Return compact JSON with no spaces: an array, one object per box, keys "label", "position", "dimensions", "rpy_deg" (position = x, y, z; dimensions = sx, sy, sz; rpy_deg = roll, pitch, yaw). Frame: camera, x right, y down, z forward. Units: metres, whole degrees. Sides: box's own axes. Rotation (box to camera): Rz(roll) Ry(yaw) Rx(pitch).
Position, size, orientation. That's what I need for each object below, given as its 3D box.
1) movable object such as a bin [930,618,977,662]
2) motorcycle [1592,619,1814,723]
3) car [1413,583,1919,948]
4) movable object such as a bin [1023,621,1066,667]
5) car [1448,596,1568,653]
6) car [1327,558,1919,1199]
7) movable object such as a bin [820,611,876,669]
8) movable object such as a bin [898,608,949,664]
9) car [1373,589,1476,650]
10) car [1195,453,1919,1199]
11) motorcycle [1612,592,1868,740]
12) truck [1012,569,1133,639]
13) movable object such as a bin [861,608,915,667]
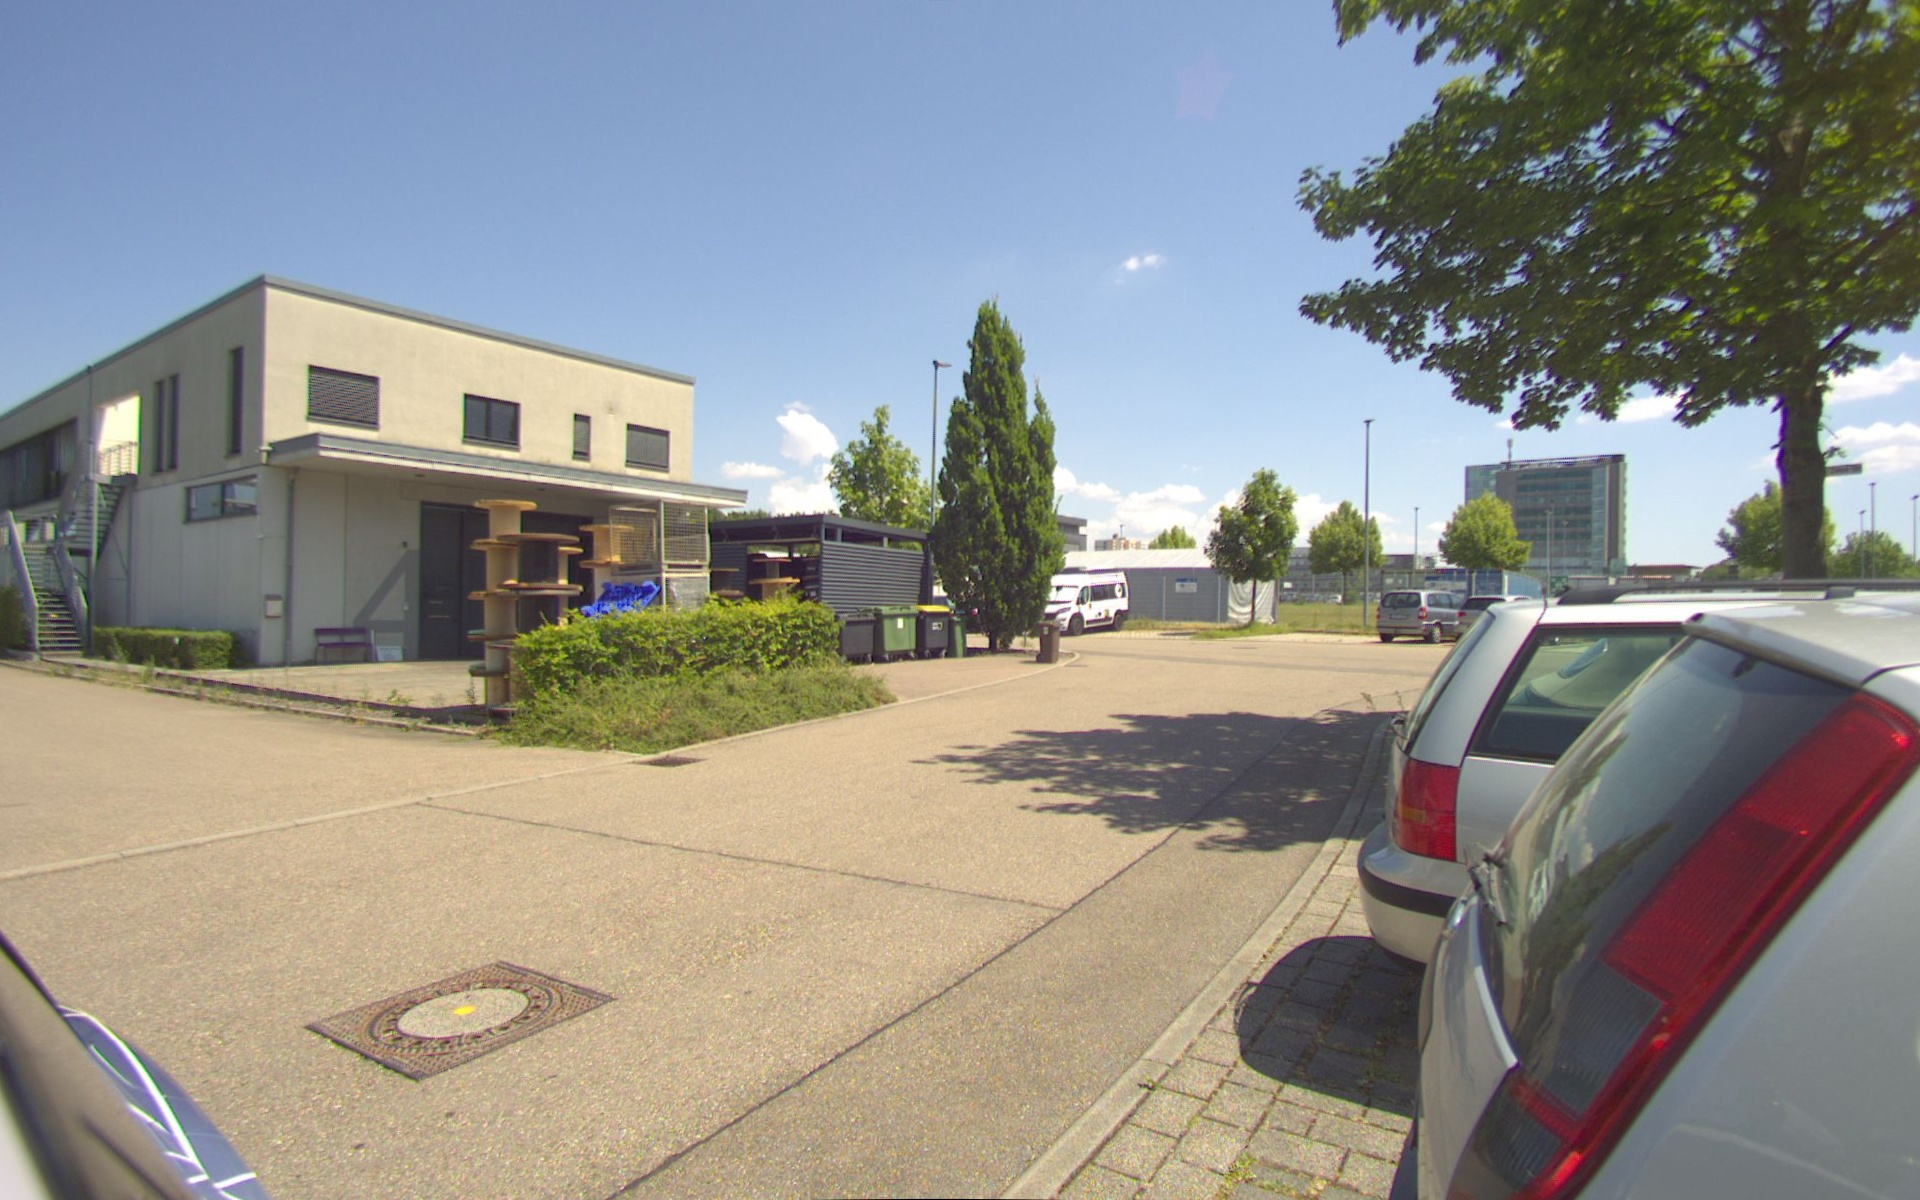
[{"label":"movable object such as a bin","position":[-0.164,1.009,26.048],"dimensions":[0.760,1.092,0.974],"rpy_deg":[-1,0,42]},{"label":"motorcycle","position":[8.446,0.783,11.610],"dimensions":[1.981,1.117,0.479],"rpy_deg":[-1,-1,30]},{"label":"car","position":[4.308,0.660,4.724],"dimensions":[3.876,1.459,1.636],"rpy_deg":[0,0,30]},{"label":"movable object such as a bin","position":[1.882,0.975,22.621],"dimensions":[0.760,0.977,0.582],"rpy_deg":[-1,0,42]},{"label":"car","position":[15.908,0.667,29.306],"dimensions":[3.936,1.533,1.656],"rpy_deg":[0,0,-39]},{"label":"car","position":[3.115,0.648,2.602],"dimensions":[3.876,1.490,1.636],"rpy_deg":[0,0,30]},{"label":"movable object such as a bin","position":[-2.586,0.911,23.361],"dimensions":[0.760,1.280,1.058],"rpy_deg":[-1,0,42]},{"label":"movable object such as a bin","position":[-0.913,0.885,25.253],"dimensions":[0.760,1.346,1.058],"rpy_deg":[-1,0,42]},{"label":"car","position":[14.428,0.571,31.335],"dimensions":[1.772,1.751,3.944],"rpy_deg":[-1,0,43]},{"label":"car","position":[2.465,0.648,0.364],"dimensions":[4.335,1.490,1.706],"rpy_deg":[0,0,33]},{"label":"motorcycle","position":[7.867,0.642,10.321],"dimensions":[1.981,1.400,0.479],"rpy_deg":[-1,-1,30]},{"label":"truck","position":[4.722,0.157,41.795],"dimensions":[2.415,2.692,5.626],"rpy_deg":[-1,0,37]},{"label":"movable object such as a bin","position":[-1.715,0.878,24.184],"dimensions":[0.760,1.346,1.058],"rpy_deg":[-1,0,42]}]
